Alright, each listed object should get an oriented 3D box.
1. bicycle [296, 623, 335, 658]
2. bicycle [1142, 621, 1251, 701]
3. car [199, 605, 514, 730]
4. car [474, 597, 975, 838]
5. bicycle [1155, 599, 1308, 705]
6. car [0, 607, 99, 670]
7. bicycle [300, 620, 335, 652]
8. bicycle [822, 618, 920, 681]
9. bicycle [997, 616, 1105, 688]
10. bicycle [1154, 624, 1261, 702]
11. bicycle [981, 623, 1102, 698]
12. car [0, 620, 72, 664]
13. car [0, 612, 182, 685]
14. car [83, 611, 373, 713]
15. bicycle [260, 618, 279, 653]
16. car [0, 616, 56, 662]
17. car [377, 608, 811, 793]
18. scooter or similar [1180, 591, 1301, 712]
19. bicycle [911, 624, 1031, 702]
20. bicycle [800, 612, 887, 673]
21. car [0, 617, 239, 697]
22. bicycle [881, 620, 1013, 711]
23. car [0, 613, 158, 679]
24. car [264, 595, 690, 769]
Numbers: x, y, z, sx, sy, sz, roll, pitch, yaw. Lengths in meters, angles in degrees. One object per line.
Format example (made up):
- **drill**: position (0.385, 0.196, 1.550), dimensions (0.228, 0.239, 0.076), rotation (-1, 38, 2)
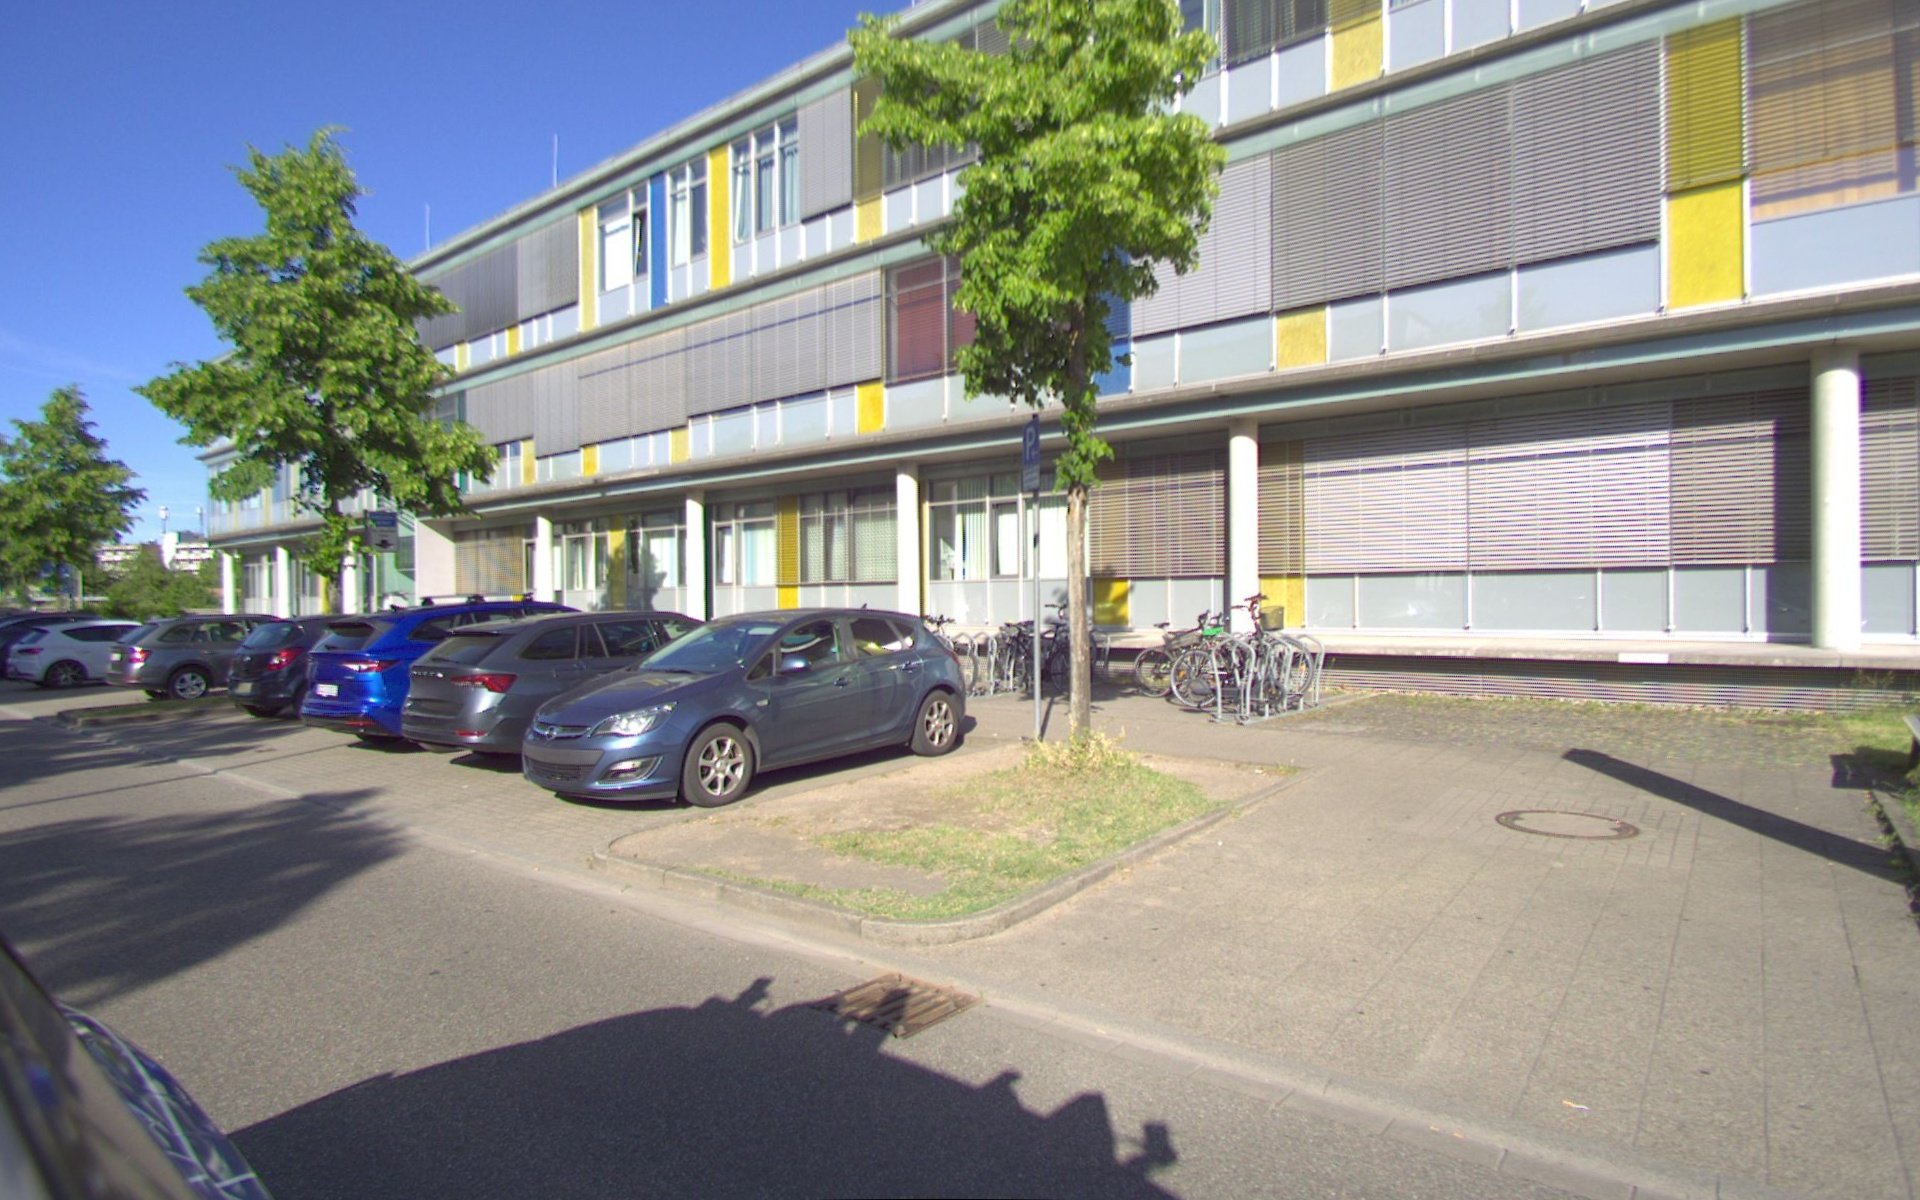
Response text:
- **bicycle**: position (-20.558, 1.282, 32.279), dimensions (1.658, 1.087, 0.513), rotation (-1, -2, 38)
- **bicycle**: position (3.170, 0.804, 13.620), dimensions (1.393, 1.030, 0.349), rotation (-1, -1, 34)
- **car**: position (-9.010, 0.911, 15.412), dimensions (1.772, 1.499, 3.715), rotation (-1, 2, 30)
- **car**: position (-1.795, 0.791, 8.893), dimensions (1.751, 1.477, 4.093), rotation (-1, 1, 37)
- **bicycle**: position (3.274, 0.651, 12.316), dimensions (1.647, 1.056, 0.349), rotation (-11, -7, 33)
- **car**: position (-31.005, 1.273, 32.871), dimensions (1.998, 1.876, 4.305), rotation (-2, 1, 39)
- **bicycle**: position (-22.497, 1.251, 35.450), dimensions (1.658, 1.105, 0.513), rotation (-1, -1, 38)
- **bicycle**: position (-1.650, 0.886, 18.526), dimensions (1.853, 1.104, 0.640), rotation (-1, -1, 38)
- **bicycle**: position (1.499, 0.846, 16.869), dimensions (1.853, 1.144, 0.443), rotation (-1, -1, 38)
- **bicycle**: position (3.396, 0.852, 13.968), dimensions (1.393, 1.030, 0.349), rotation (-1, -1, 34)
- **bicycle**: position (1.152, 0.849, 14.538), dimensions (1.777, 1.023, 0.443), rotation (-1, -1, 38)
- **car**: position (-35.138, 1.565, 36.646), dimensions (2.000, 1.471, 4.301), rotation (-1, 1, 43)
- **car**: position (-23.446, 1.221, 26.611), dimensions (1.995, 1.639, 4.312), rotation (-1, 2, 34)
- **car**: position (-13.340, 1.031, 18.644), dimensions (1.820, 1.499, 3.945), rotation (0, 2, 37)
- **bicycle**: position (-23.829, 1.206, 34.929), dimensions (0.455, 1.104, 1.517), rotation (-2, 3, -32)
- **car**: position (-37.411, 1.547, 38.500), dimensions (2.000, 1.659, 4.301), rotation (-1, 1, 43)
- **car**: position (-3.564, 0.860, 10.506), dimensions (1.728, 1.448, 3.952), rotation (-1, 0, 36)
- **scooter or similar**: position (3.125, 0.558, 11.305), dimensions (1.204, 1.283, 0.465), rotation (-1, -1, 40)
- **bicycle**: position (0.125, 0.857, 14.117), dimensions (1.777, 1.023, 0.423), rotation (-1, -1, 38)
- **bicycle**: position (-2.408, 0.851, 20.735), dimensions (1.853, 1.208, 0.640), rotation (-1, -1, 38)
- **car**: position (-18.978, 1.200, 22.832), dimensions (1.820, 1.433, 4.054), rotation (0, 2, 37)
- **bicycle**: position (-0.196, 0.850, 13.681), dimensions (1.777, 1.151, 0.629), rotation (-1, -1, 38)
- **car**: position (-25.715, 1.295, 28.643), dimensions (1.995, 1.602, 4.312), rotation (-2, 1, 34)
- **car**: position (-5.550, 0.802, 12.112), dimensions (1.956, 1.664, 4.183), rotation (-1, 0, 36)
